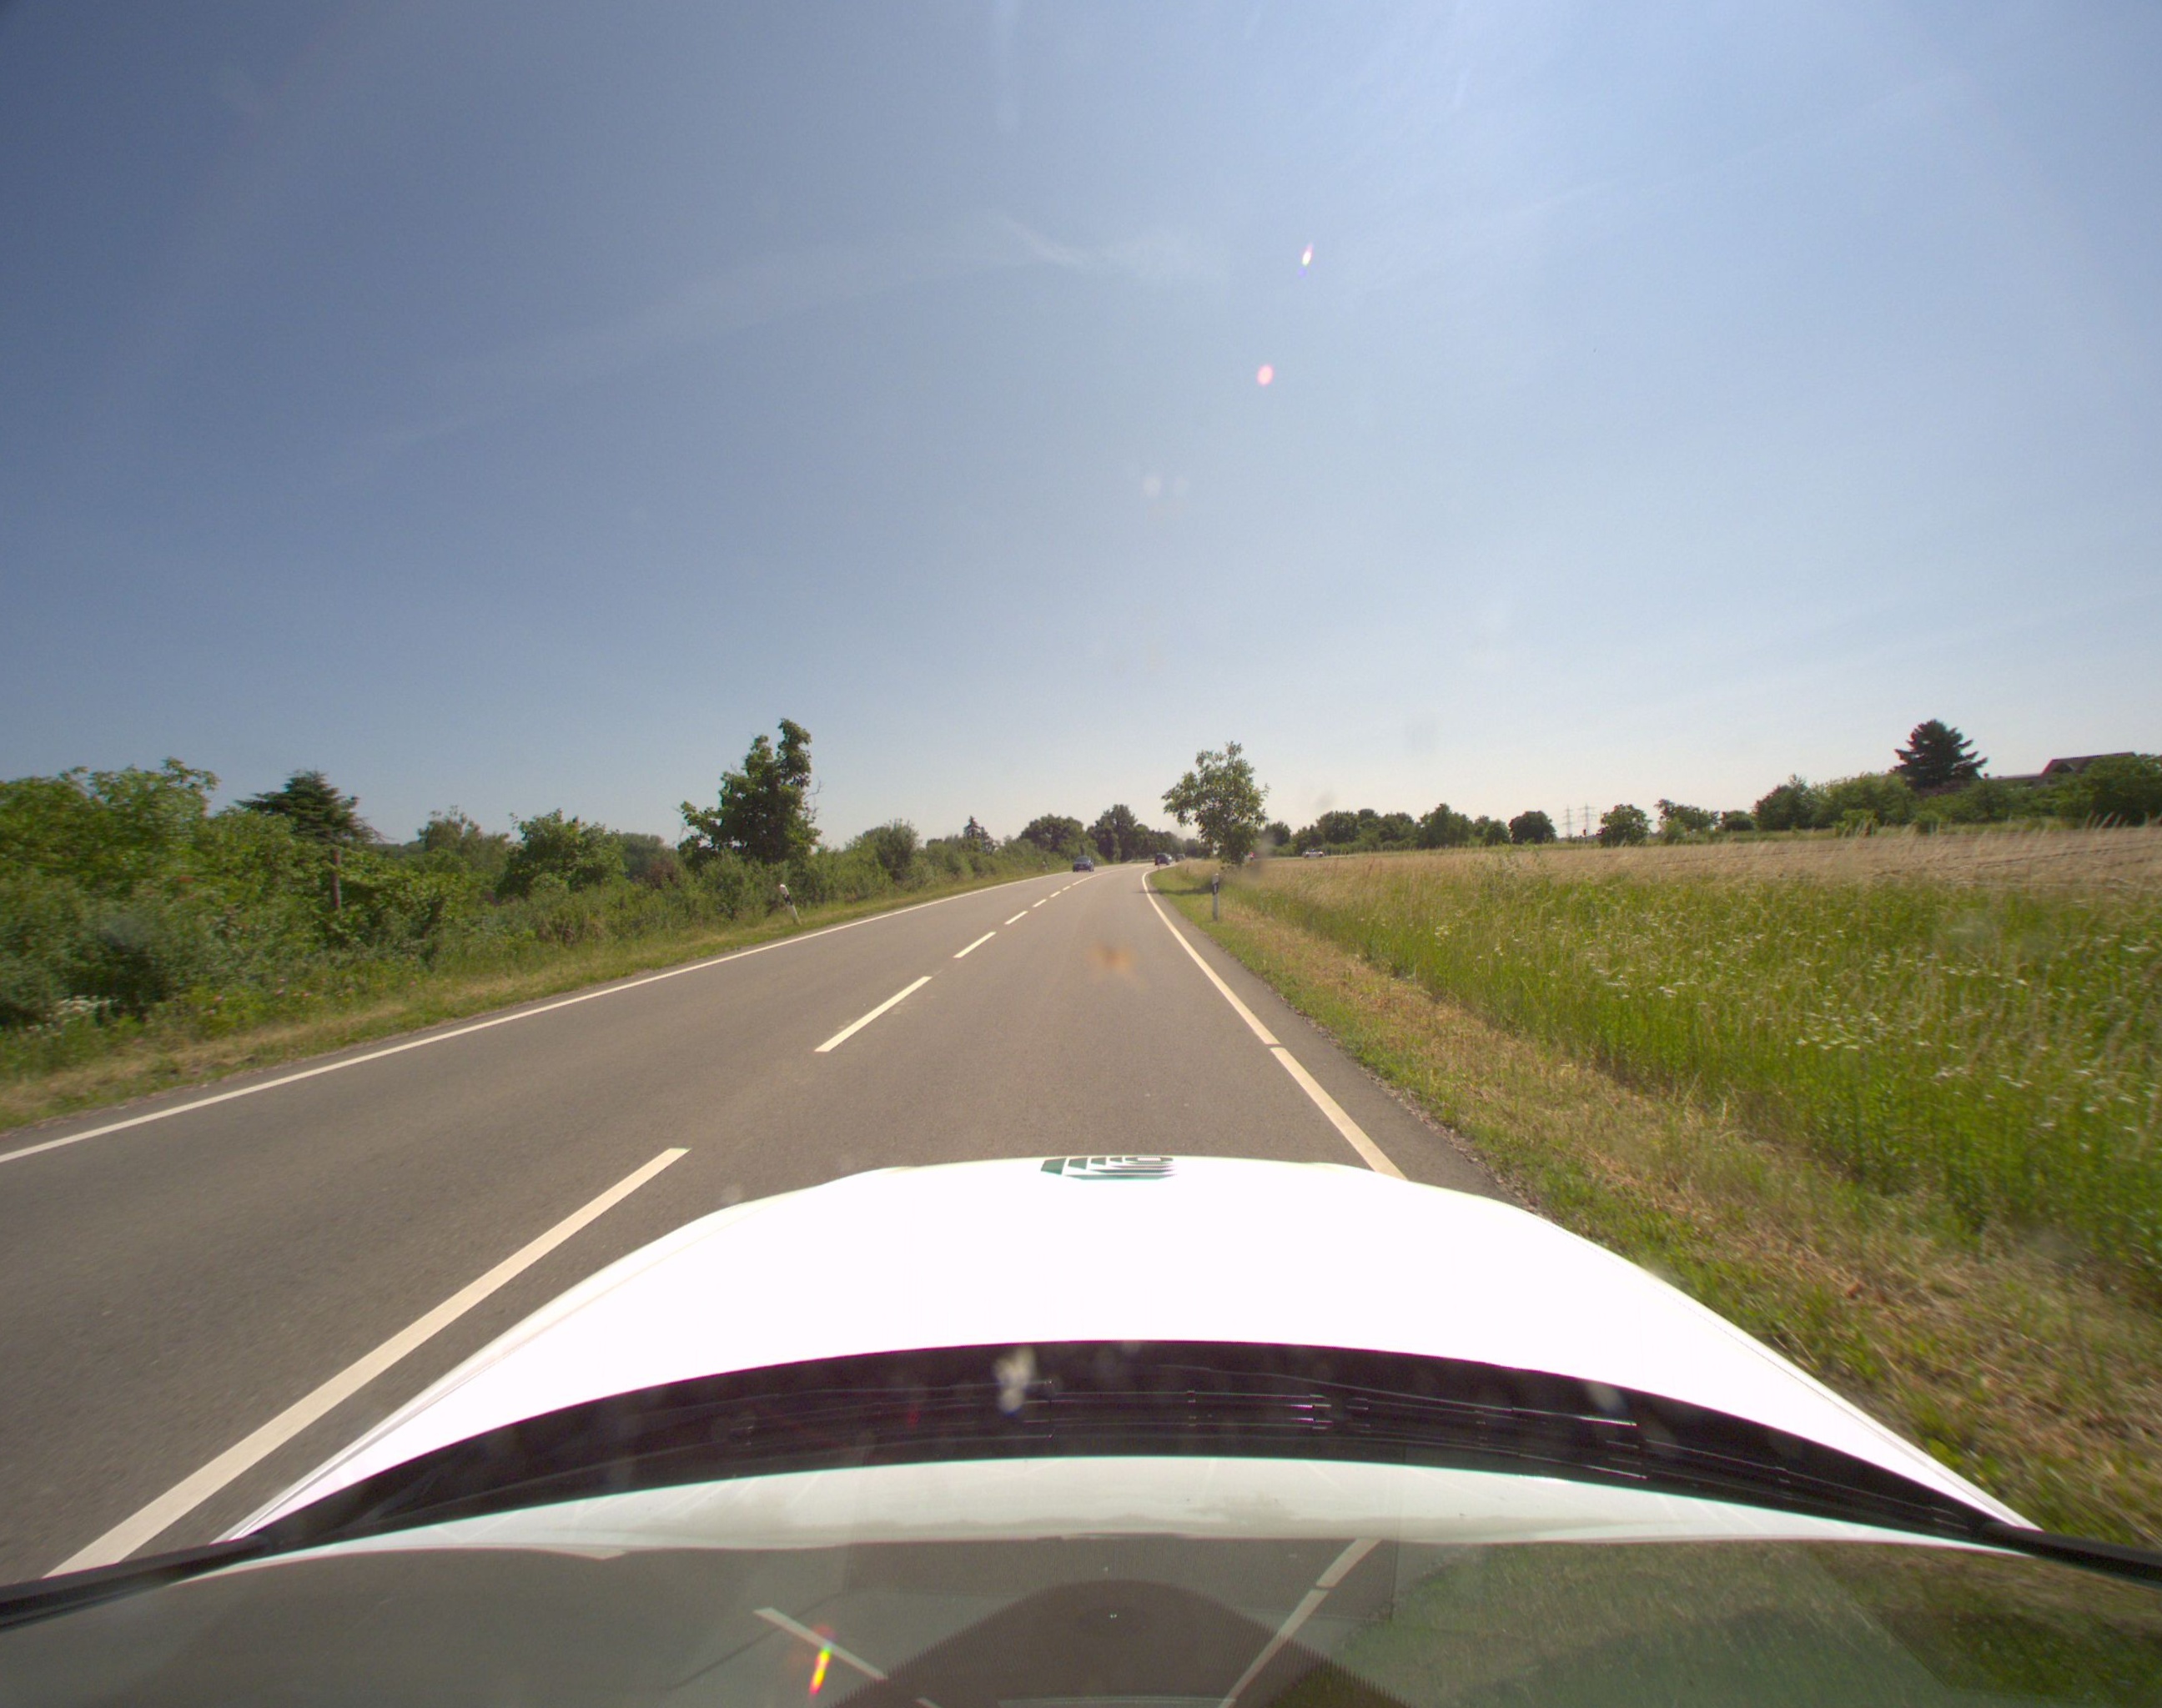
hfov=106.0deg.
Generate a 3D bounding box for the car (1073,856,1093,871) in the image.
[{"bbox_3d":[0.177,0.913,76.472,1.686,1.362,3.828,-1,0,3],"label":"car"}]

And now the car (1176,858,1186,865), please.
[{"bbox_3d":[18.577,1.350,151.771,1.634,1.341,4.050,-1,0,10],"label":"car"}]

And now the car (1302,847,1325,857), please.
[{"bbox_3d":[42.778,-0.324,149.810,3.951,1.623,1.653,-3,-1,24],"label":"car"}]

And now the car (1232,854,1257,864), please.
[{"bbox_3d":[29.352,0.919,146.367,4.161,1.623,2.048,-2,-1,-37],"label":"car"}]

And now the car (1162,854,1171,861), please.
[{"bbox_3d":[17.600,0.693,167.471,1.825,1.418,4.725,-1,0,8],"label":"car"}]

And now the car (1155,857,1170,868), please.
[{"bbox_3d":[11.743,1.186,116.704,1.873,1.518,4.050,-1,0,9],"label":"car"}]
